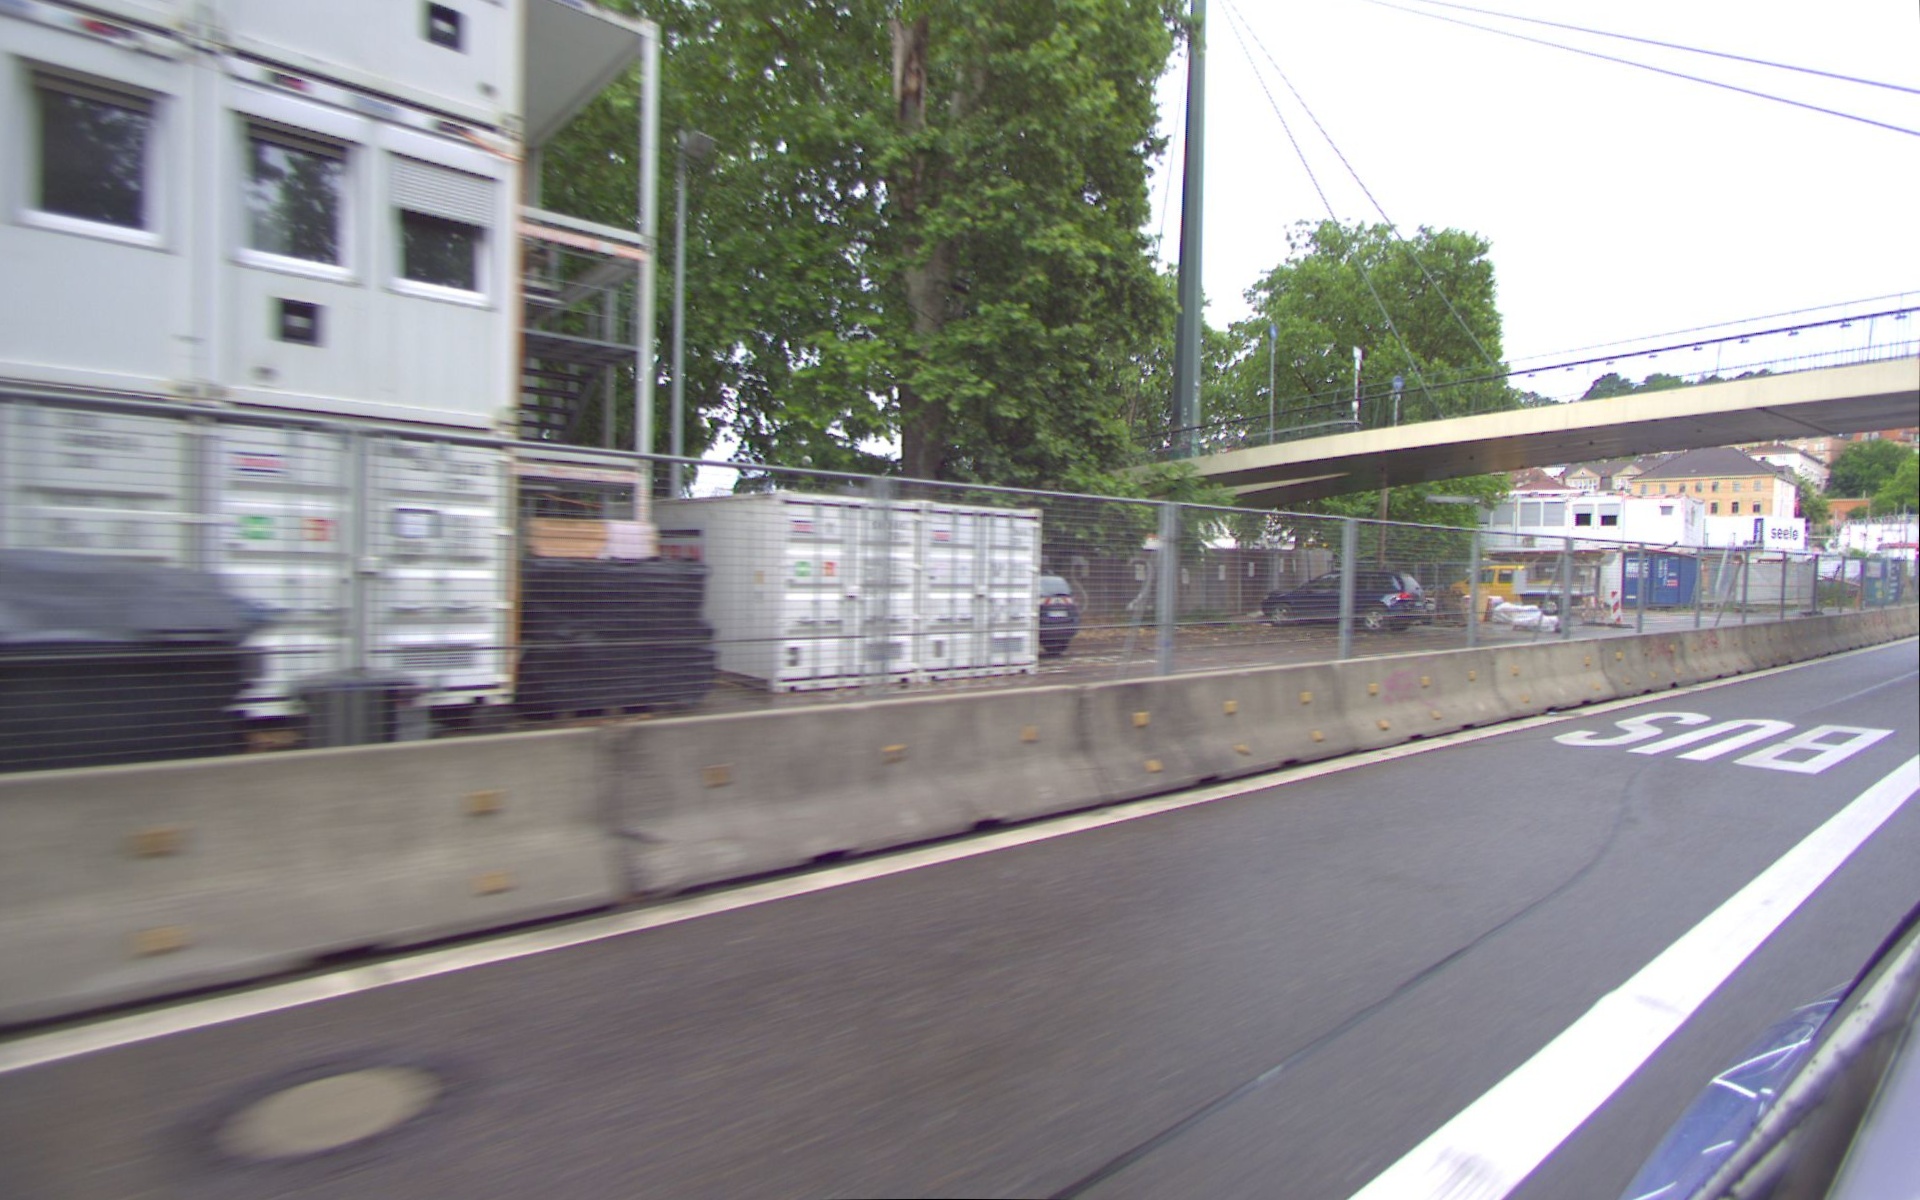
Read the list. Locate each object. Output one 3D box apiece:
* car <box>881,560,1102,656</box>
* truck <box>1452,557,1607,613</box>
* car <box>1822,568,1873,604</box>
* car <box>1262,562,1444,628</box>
[{"bbox_3d":[0.506,0.072,20.197,1.757,1.649,4.551,0,2,-42],"label":"car"},{"bbox_3d":[23.445,-0.685,41.779,5.155,2.037,2.372,3,5,44],"label":"truck"},{"bbox_3d":[47.834,-0.785,54.521,1.851,1.501,3.942,5,9,43],"label":"car"},{"bbox_3d":[11.317,-0.213,29.347,1.968,1.749,4.502,-2,3,-44],"label":"car"}]
